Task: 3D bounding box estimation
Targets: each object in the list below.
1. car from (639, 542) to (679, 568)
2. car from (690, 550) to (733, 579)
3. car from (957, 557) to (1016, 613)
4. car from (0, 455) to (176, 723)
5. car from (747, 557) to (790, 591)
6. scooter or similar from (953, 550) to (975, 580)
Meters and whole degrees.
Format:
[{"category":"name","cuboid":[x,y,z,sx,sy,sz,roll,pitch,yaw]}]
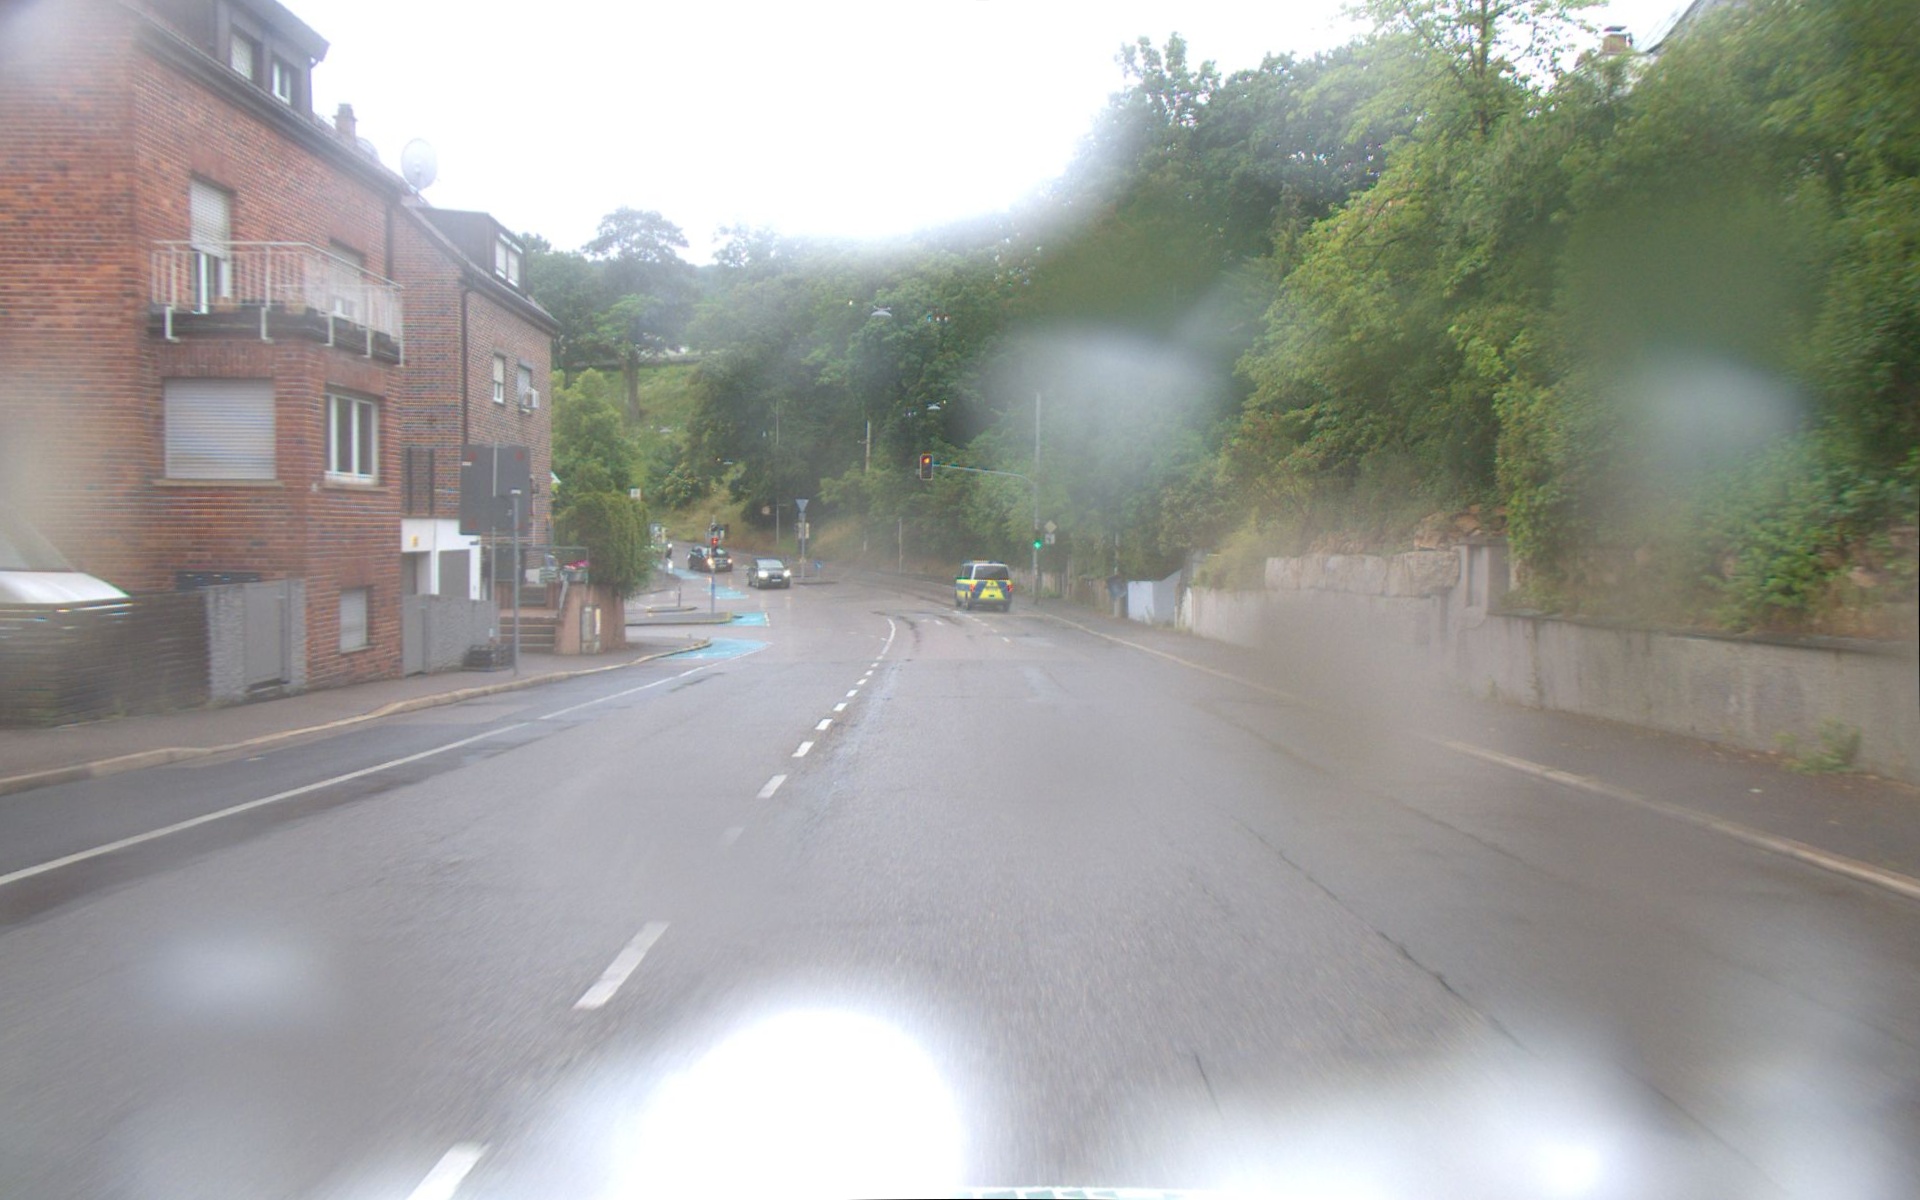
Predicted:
[{"category":"car","cuboid":[-20.077,-3.023,110.301,1.718,1.576,3.973,-4,4,-23]},{"category":"car","cuboid":[-14.937,-2.152,99.400,1.716,1.576,3.977,-4,3,-20]},{"category":"car","cuboid":[1.085,-0.684,70.468,2.262,1.972,4.326,-3,4,-1]},{"category":"car","cuboid":[-11.929,-0.118,17.125,6.518,2.598,2.167,1,-1,0]},{"category":"car","cuboid":[-10.224,-1.407,88.139,1.712,1.576,3.987,-3,4,-14]},{"category":"scooter or similar","cuboid":[0.223,-1.891,88.824,0.606,1.446,2.151,-3,5,-15]}]
